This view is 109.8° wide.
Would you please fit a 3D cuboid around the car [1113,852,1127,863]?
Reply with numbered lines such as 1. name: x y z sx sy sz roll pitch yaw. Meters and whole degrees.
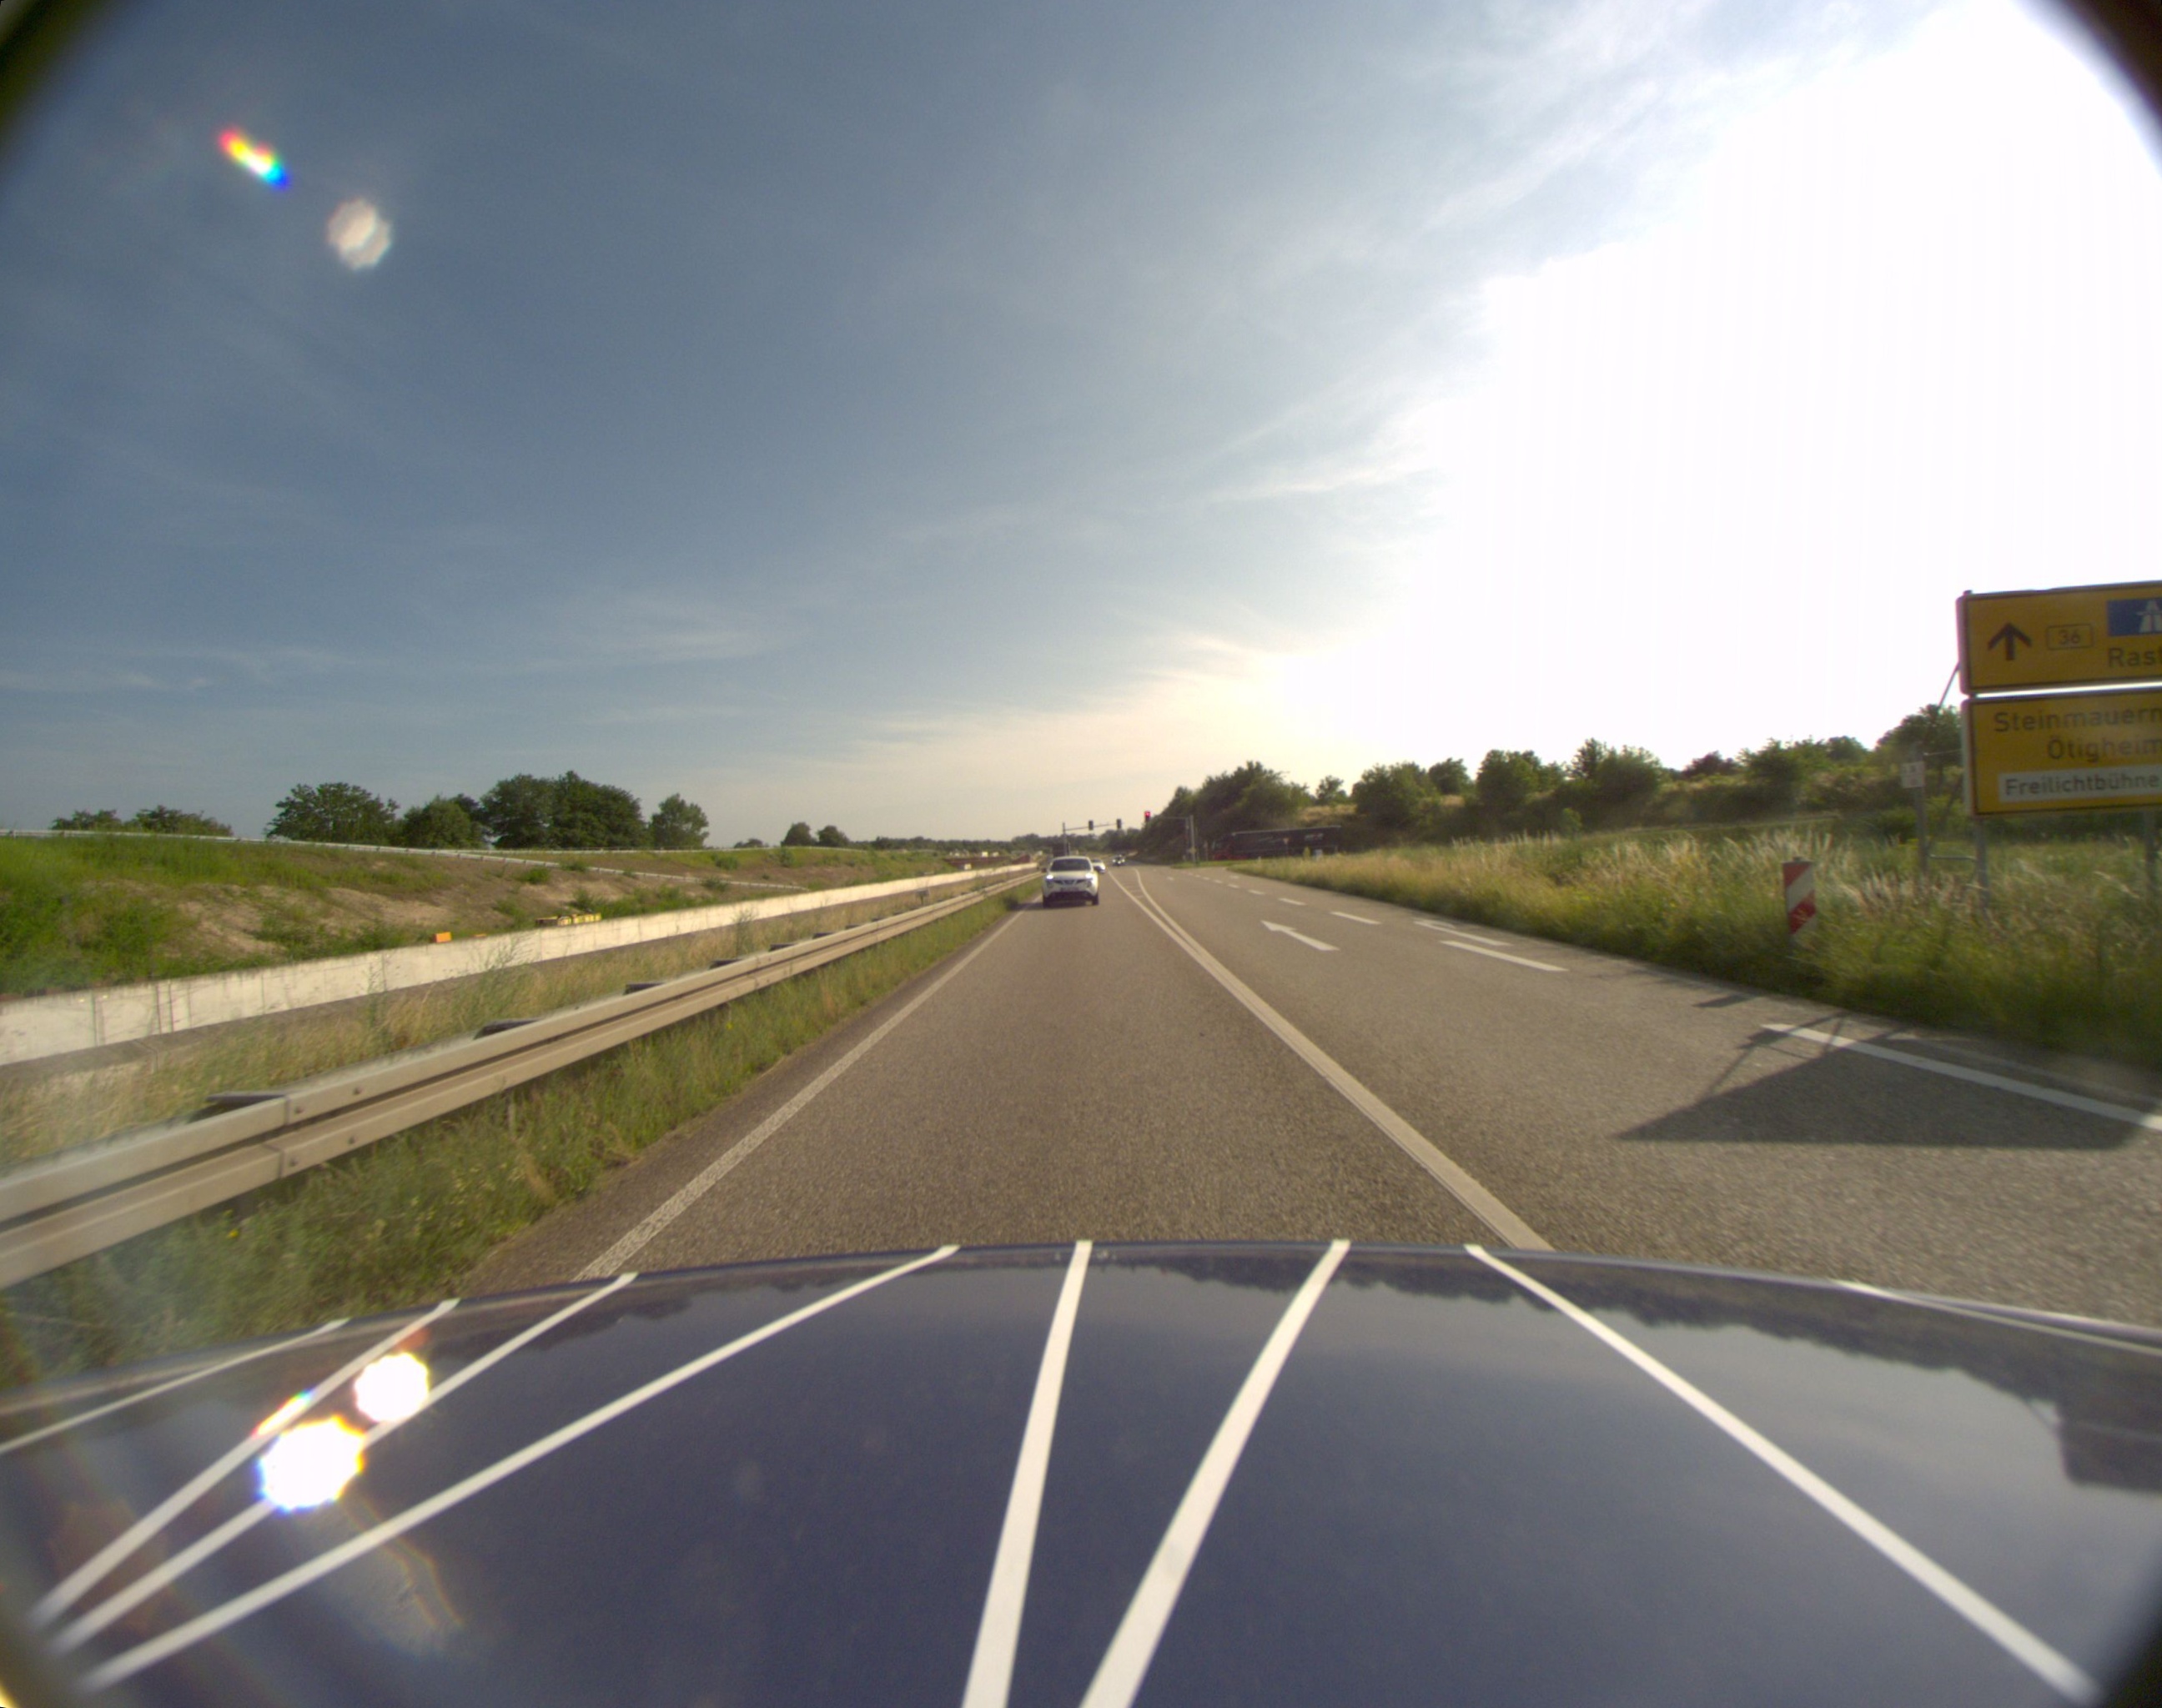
1. car: 6.026 0.541 117.192 1.998 1.602 4.198 -3 0 5

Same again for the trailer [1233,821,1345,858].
1. trailer: 27.278 -1.882 100.399 13.778 4.089 3.562 -3 1 11

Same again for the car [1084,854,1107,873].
1. car: 1.277 0.852 68.267 1.908 1.512 4.464 -3 0 -1

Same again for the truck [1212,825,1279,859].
1. truck: 21.839 -1.585 101.415 8.388 4.089 3.562 -3 1 11

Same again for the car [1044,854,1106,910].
1. car: -0.305 0.864 25.323 1.789 1.593 4.571 -3 0 -3
